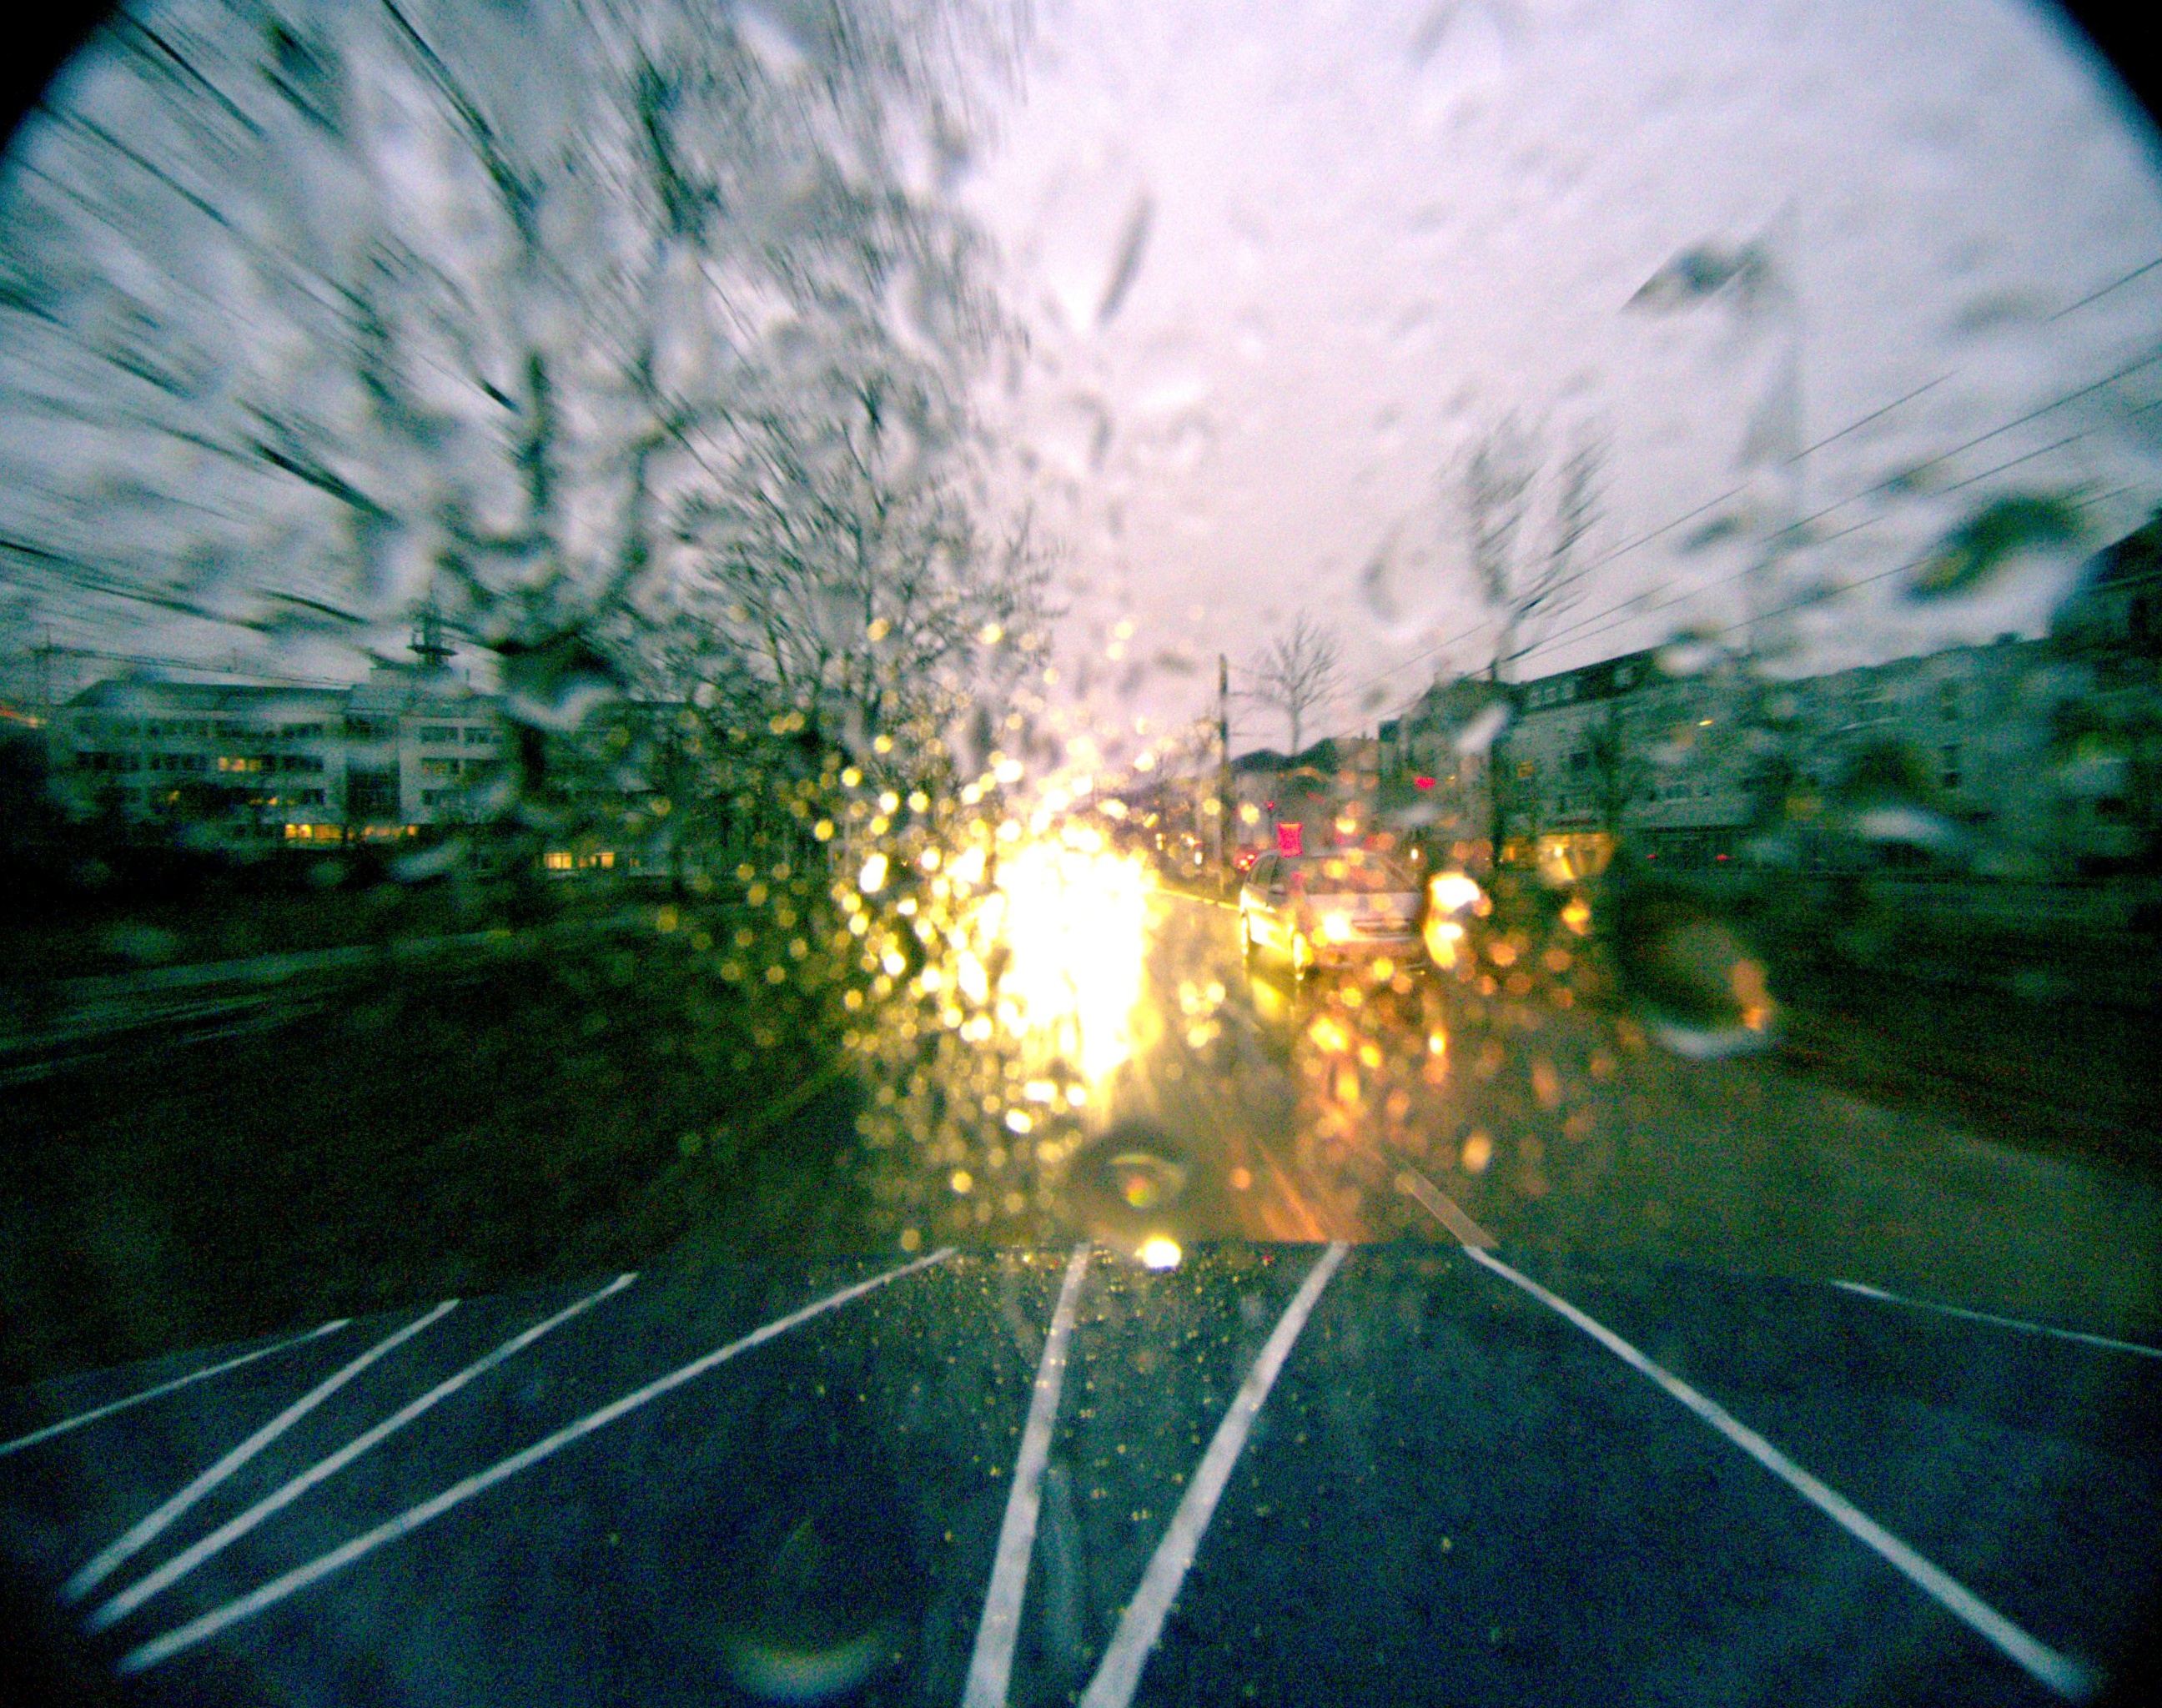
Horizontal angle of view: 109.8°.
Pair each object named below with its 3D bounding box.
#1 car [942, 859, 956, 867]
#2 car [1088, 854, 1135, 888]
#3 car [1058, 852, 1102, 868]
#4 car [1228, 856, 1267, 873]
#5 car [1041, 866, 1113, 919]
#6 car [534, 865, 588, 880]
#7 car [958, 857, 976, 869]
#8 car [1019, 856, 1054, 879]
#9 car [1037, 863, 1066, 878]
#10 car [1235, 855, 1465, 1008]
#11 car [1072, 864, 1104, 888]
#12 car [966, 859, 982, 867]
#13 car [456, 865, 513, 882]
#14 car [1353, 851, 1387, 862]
[{"bbox_3d":[-22.320,1.483,128.302,2.001,1.315,3.995,-1,0,-15],"label":"car"},{"bbox_3d":[1.507,0.820,38.990,1.924,1.546,4.216,-3,0,-3],"label":"car"},{"bbox_3d":[-0.137,0.731,91.940,4.662,1.846,2.332,-1,0,29],"label":"car"},{"bbox_3d":[13.865,0.833,63.474,1.898,1.347,4.287,-1,0,-6],"label":"car"},{"bbox_3d":[-0.211,1.080,22.778,1.897,1.347,4.288,-1,0,-4],"label":"car"},{"bbox_3d":[-53.742,1.936,78.613,4.168,1.430,1.901,-1,0,-18],"label":"car"},{"bbox_3d":[-15.801,1.267,104.906,1.952,1.546,4.211,-1,0,-16],"label":"car"},{"bbox_3d":[-3.303,0.983,55.502,1.951,1.546,4.213,-3,0,-11],"label":"car"},{"bbox_3d":[-2.791,1.528,70.566,1.899,1.347,4.284,-1,0,-13],"label":"car"},{"bbox_3d":[3.231,0.819,9.964,1.669,1.566,3.922,-1,0,1],"label":"car"},{"bbox_3d":[0.463,1.567,54.776,1.845,1.546,4.215,-3,0,-6],"label":"car"},{"bbox_3d":[-16.982,1.408,120.494,2.001,1.315,3.995,-1,0,-15],"label":"car"},{"bbox_3d":[-61.131,2.010,77.952,4.151,1.622,1.997,-1,0,-18],"label":"car"},{"bbox_3d":[38.737,0.353,101.928,3.900,1.467,1.777,-1,0,-10],"label":"car"}]
